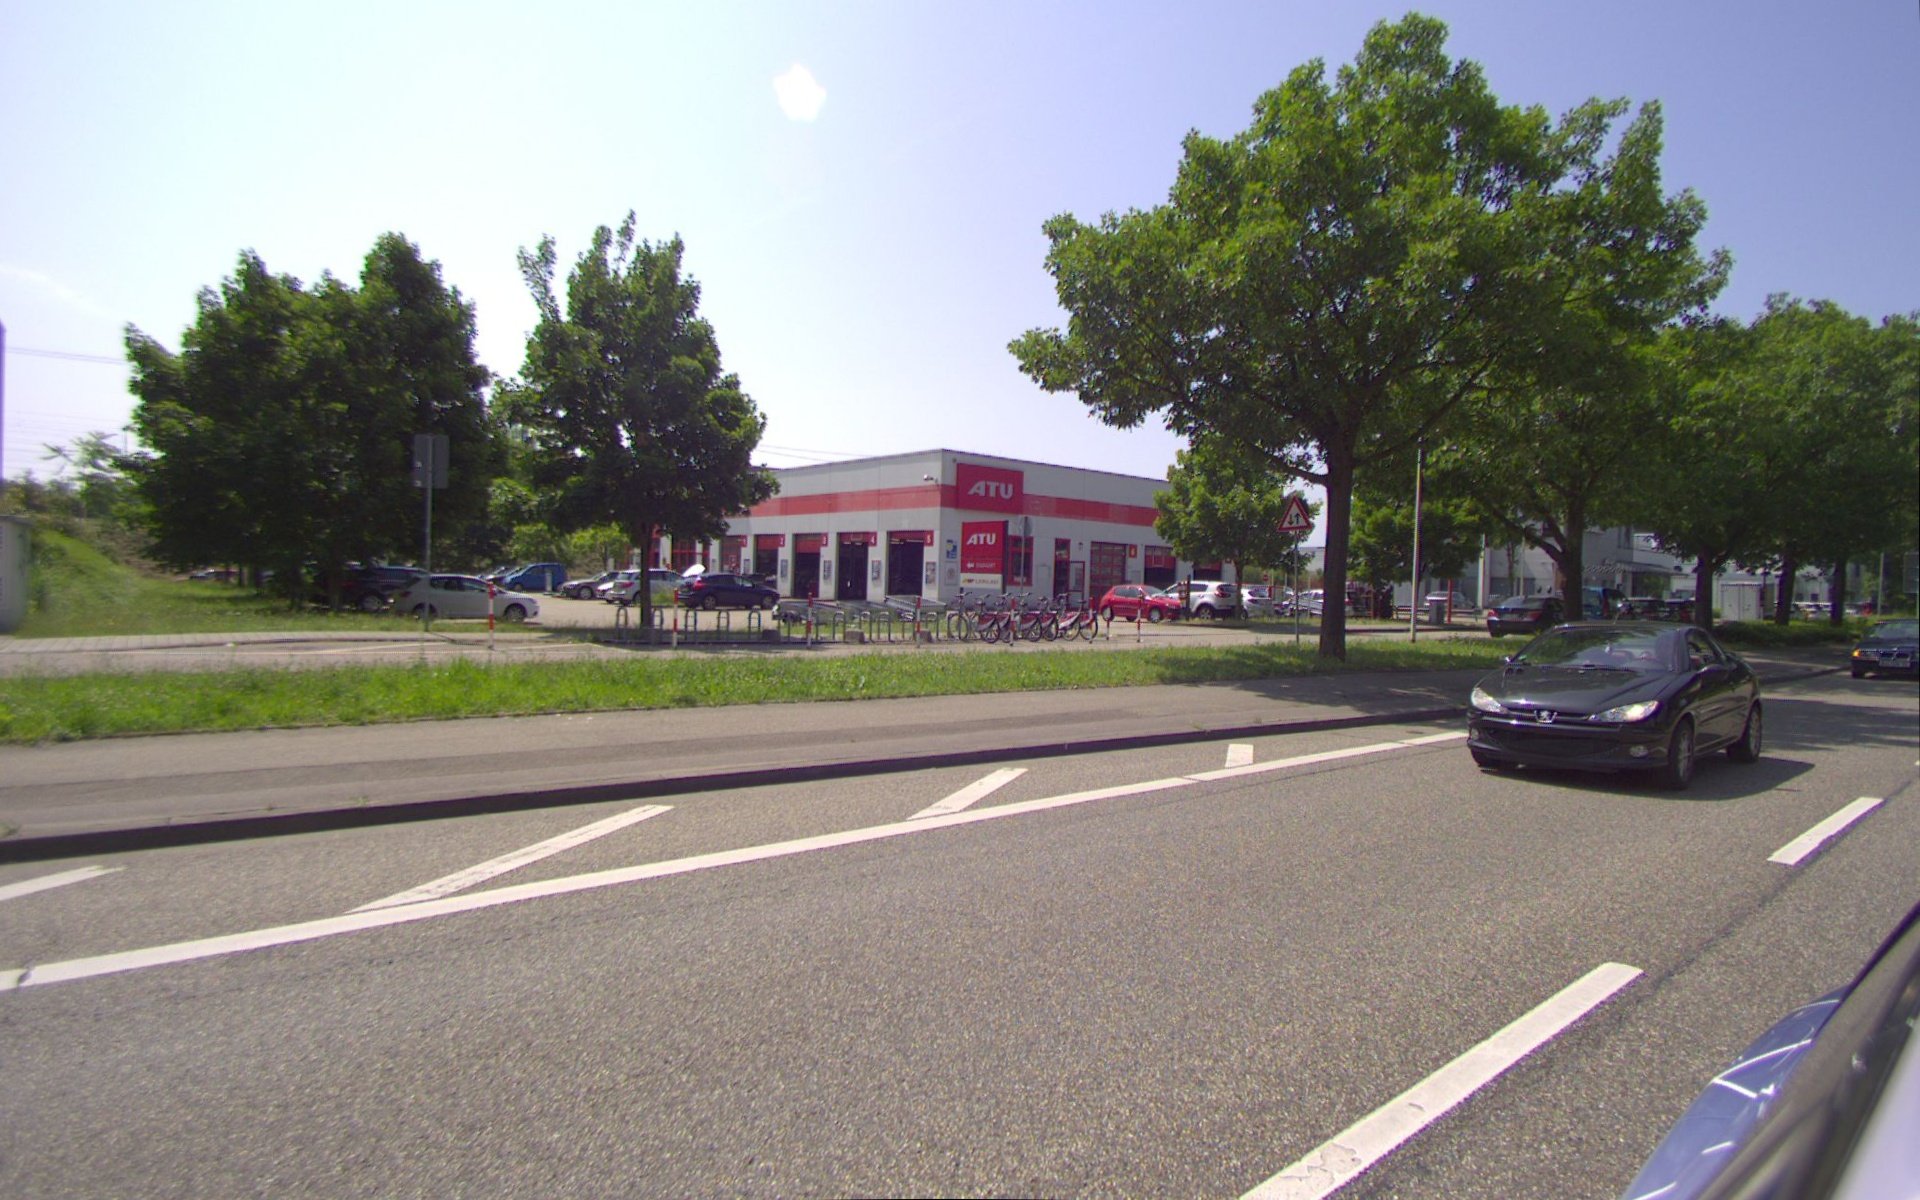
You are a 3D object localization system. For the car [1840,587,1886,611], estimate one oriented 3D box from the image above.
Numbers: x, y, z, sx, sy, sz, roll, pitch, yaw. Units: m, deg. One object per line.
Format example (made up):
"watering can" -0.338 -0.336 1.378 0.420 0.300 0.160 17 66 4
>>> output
"car" 60.535 -0.057 67.819 3.928 1.485 1.719 1 1 -40

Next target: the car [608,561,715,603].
"car" -12.801 -0.758 43.563 4.072 1.683 1.716 0 2 -41

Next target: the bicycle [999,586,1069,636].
"bicycle" 1.806 0.252 24.887 1.780 1.138 0.506 3 1 44

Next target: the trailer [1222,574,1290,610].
"trailer" 13.527 -0.361 46.302 1.391 1.546 2.639 1 2 -42

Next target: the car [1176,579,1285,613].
"car" 11.047 -0.169 41.514 1.717 1.223 3.993 1 2 -42

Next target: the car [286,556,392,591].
"car" -28.416 -1.201 46.343 3.930 1.477 1.710 1 2 -41

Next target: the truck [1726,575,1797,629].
"truck" 40.670 0.076 51.322 3.927 2.599 1.905 1 1 -38

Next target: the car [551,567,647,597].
"car" -17.465 -0.858 49.048 4.072 1.376 1.647 0 2 -41

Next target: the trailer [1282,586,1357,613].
"trailer" 15.571 -0.037 43.909 1.551 1.065 2.639 1 2 -42

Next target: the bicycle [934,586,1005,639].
"bicycle" 0.209 0.275 23.573 1.780 1.138 0.506 3 1 44

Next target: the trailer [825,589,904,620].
"trailer" -2.696 0.106 28.291 1.244 0.771 2.138 1 2 -38

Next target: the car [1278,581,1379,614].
"car" 16.671 -0.135 45.942 1.661 1.317 3.993 1 2 -42

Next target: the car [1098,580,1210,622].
"car" 7.404 0.022 38.823 1.717 1.419 3.994 1 2 -42

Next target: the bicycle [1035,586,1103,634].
"bicycle" 2.762 0.239 25.802 1.780 1.138 0.506 3 1 44

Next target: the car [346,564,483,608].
"car" -18.899 -0.477 35.128 3.927 1.444 1.711 1 1 -39

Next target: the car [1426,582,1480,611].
"car" 28.979 -0.223 59.468 1.754 1.616 3.938 3 2 43

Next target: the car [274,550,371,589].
"car" -31.430 -1.497 49.960 3.925 1.793 1.712 1 1 -37

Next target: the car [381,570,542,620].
"car" -14.429 -0.143 29.369 3.903 1.329 1.652 0 2 -41

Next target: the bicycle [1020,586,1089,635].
"bicycle" 2.360 0.248 25.343 1.780 1.138 0.506 3 1 44

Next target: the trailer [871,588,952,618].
"trailer" -1.438 0.088 29.427 1.368 0.771 2.138 1 2 -38

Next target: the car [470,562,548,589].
"car" -27.069 -1.452 60.787 3.930 1.482 1.785 0 2 -41

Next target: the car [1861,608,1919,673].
"car" 22.206 0.893 23.311 4.072 1.388 1.641 1 -1 -41

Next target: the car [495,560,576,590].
"car" -24.213 -1.415 57.827 3.930 1.626 1.710 1 1 -41

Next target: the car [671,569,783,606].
"car" -9.435 -0.501 41.145 4.072 1.390 1.716 0 2 -41

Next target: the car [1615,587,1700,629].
"car" 27.563 0.309 39.932 3.928 1.539 1.719 1 1 -40

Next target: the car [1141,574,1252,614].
"car" 9.331 -0.252 40.101 1.717 1.419 3.993 1 2 -42

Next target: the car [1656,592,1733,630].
"car" 31.863 0.471 43.880 3.928 1.532 1.719 1 1 -40

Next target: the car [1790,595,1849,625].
"car" 45.757 0.521 53.866 3.928 1.485 1.719 1 1 -40

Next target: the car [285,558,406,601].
"car" -24.466 -0.801 40.318 3.927 1.600 1.711 1 1 -39

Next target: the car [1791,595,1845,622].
"car" 49.974 0.495 58.921 3.928 1.485 1.719 1 1 -40

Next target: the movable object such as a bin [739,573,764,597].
"movable object such as a bin" -11.478 -0.836 55.685 1.047 1.274 1.003 1 1 -36

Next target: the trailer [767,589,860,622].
"trailer" -3.949 0.124 27.099 1.423 0.771 2.468 1 2 -38

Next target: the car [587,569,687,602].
"car" -14.523 -0.642 45.607 3.930 1.389 1.725 0 2 -41

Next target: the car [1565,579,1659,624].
"car" 23.646 0.056 36.647 3.928 1.485 1.719 1 1 -40

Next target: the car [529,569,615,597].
"car" -21.103 -0.917 55.094 4.072 1.376 1.647 0 2 -41

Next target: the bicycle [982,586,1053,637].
"bicycle" 1.370 0.261 24.421 1.780 1.138 0.506 3 1 44

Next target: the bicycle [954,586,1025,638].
"bicycle" 0.678 0.268 24.005 1.780 1.138 0.506 3 1 44

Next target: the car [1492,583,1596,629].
"car" 18.960 0.184 32.797 3.928 1.388 1.642 1 2 -40

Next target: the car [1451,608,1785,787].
"car" 6.385 0.764 9.657 3.929 1.361 1.641 1 -1 -41
